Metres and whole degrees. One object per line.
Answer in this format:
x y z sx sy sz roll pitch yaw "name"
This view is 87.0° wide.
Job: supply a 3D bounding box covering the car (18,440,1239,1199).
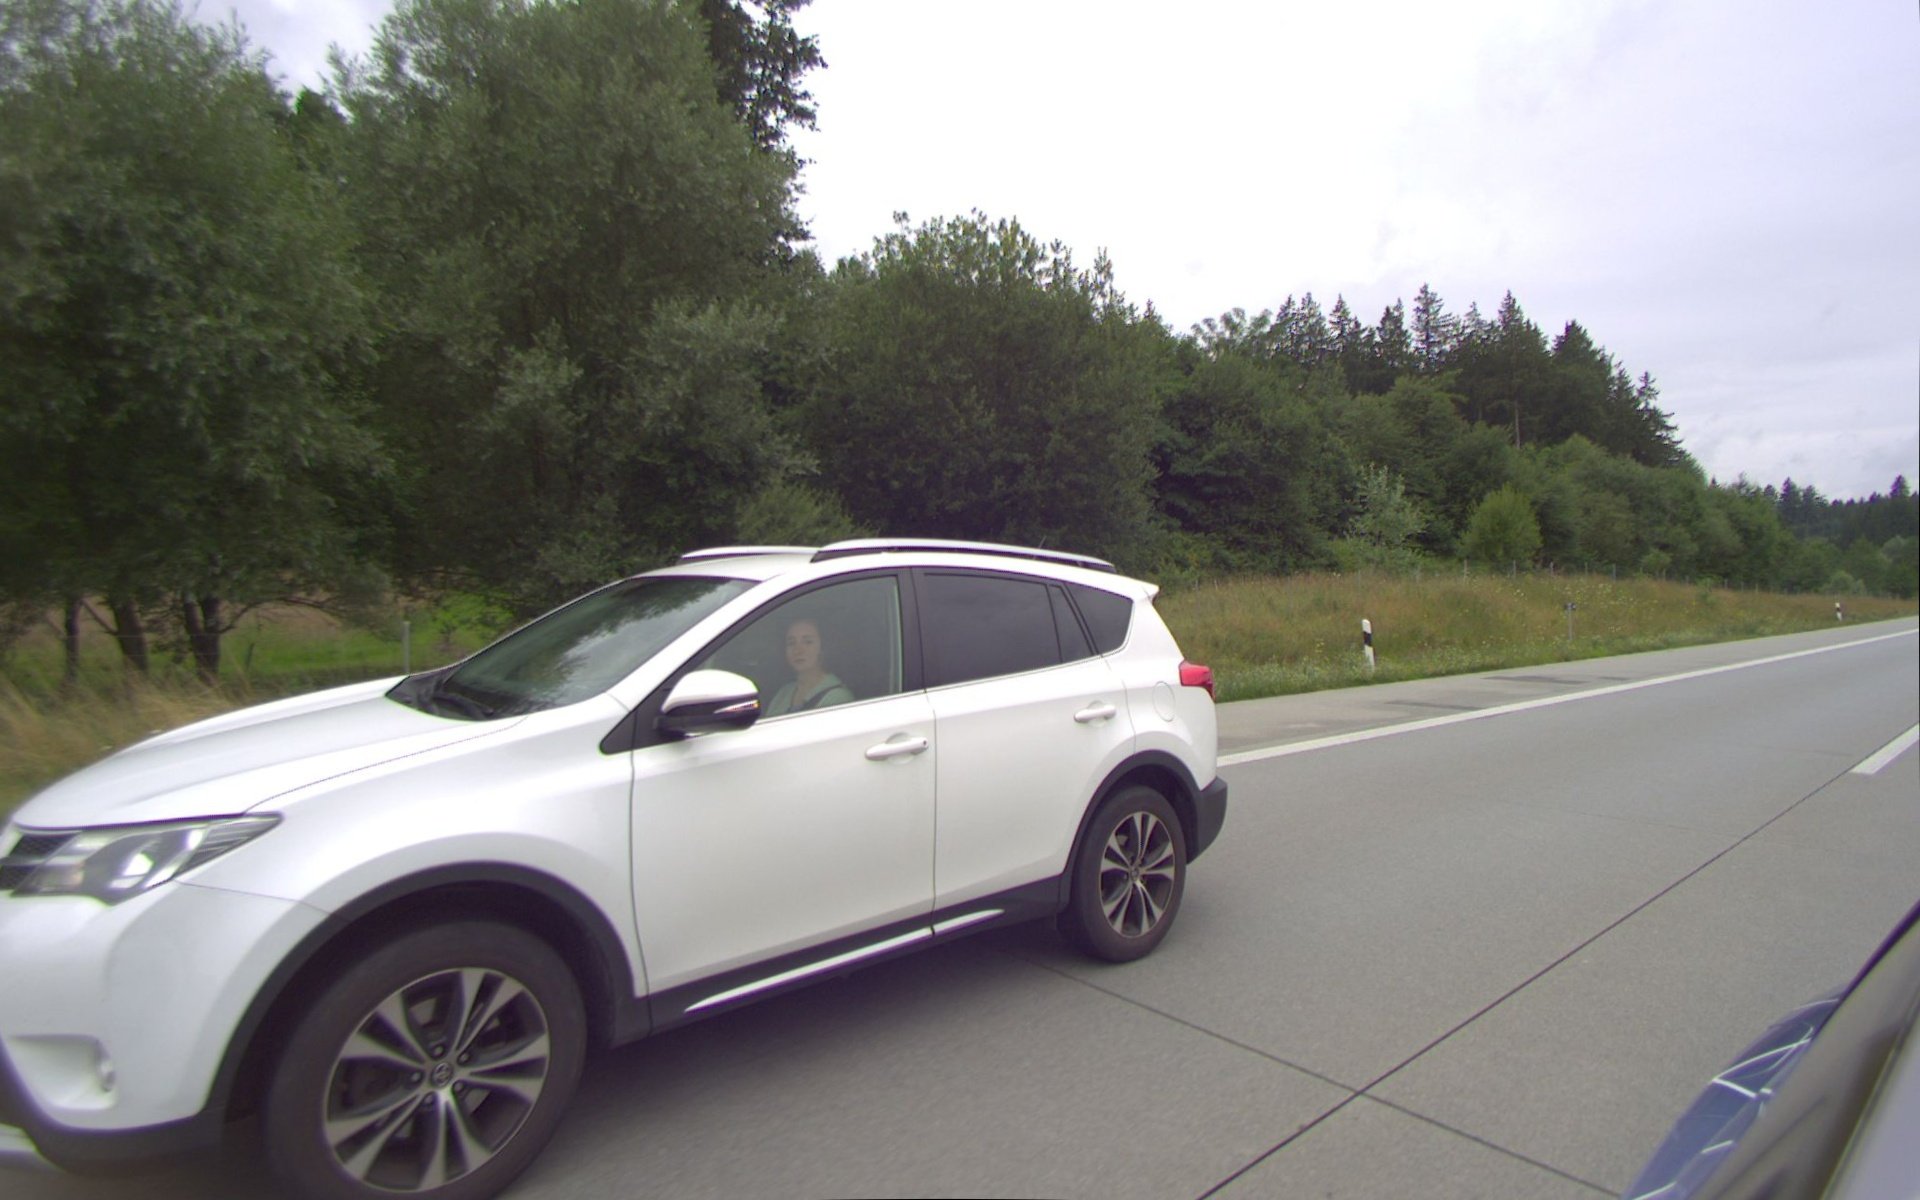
-0.840 0.539 3.832 3.916 1.676 1.828 0 0 -41 "car"
